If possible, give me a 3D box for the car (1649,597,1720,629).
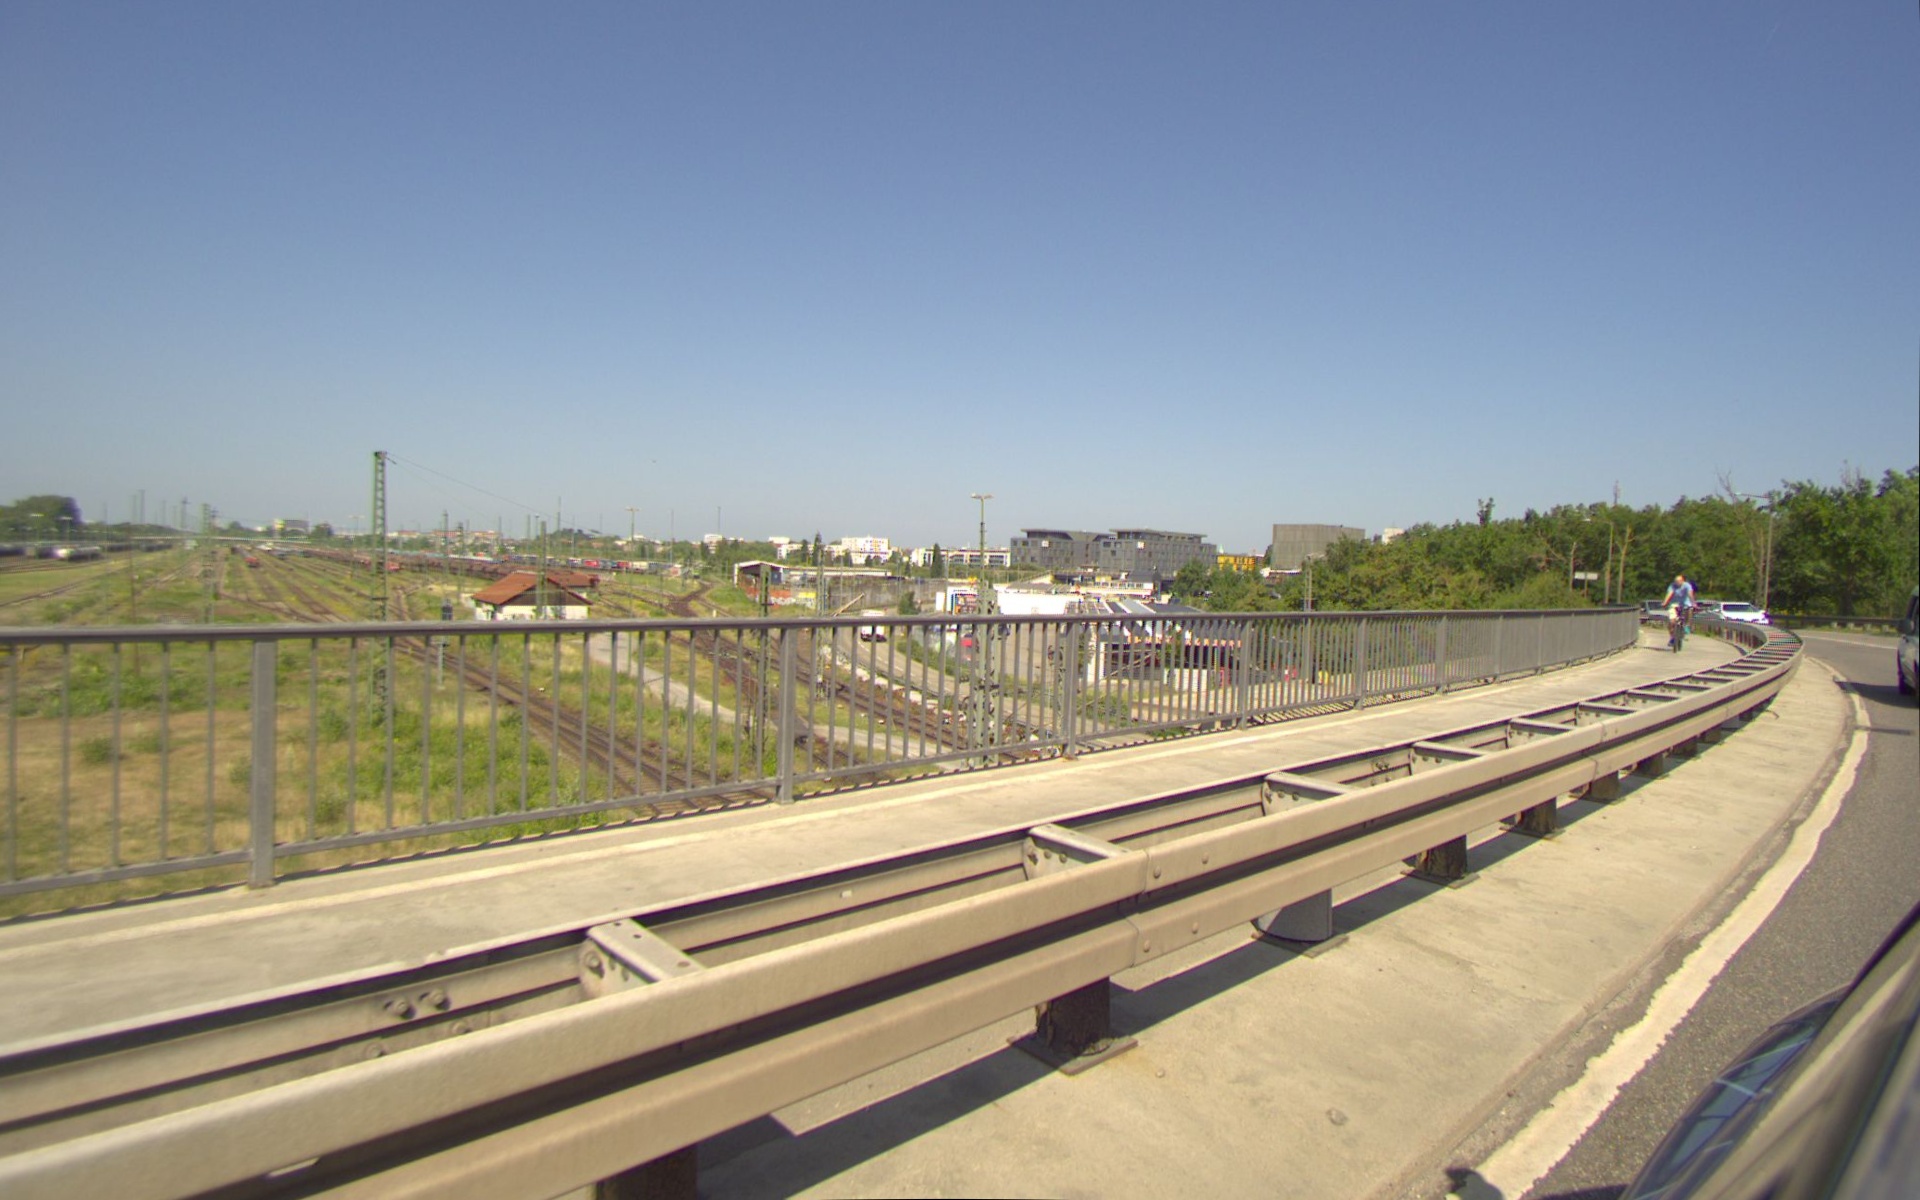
[{"bbox_3d":[40.920,0.741,57.250,1.973,1.605,3.976,-5,-2,18],"label":"car"}]

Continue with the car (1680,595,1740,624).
[{"bbox_3d":[46.707,0.580,63.128,1.842,1.703,4.442,0,1,21],"label":"car"}]

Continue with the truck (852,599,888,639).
[{"bbox_3d":[-11.118,2.153,123.438,3.745,4.079,13.292,3,1,-7],"label":"truck"}]

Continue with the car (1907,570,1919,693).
[{"bbox_3d":[15.234,0.474,14.734,1.890,1.818,4.382,0,0,41],"label":"car"}]

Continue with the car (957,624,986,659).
[{"bbox_3d":[1.097,3.862,95.196,2.267,2.695,5.374,-4,2,4],"label":"car"}]

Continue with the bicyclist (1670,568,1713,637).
[{"bbox_3d":[17.213,0.047,23.827,0.655,1.538,0.794,5,4,32],"label":"bicyclist"}]

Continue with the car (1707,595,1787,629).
[{"bbox_3d":[36.845,0.511,47.480,1.825,1.507,4.122,0,0,21],"label":"car"}]

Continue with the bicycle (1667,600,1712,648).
[{"bbox_3d":[17.276,0.553,23.997,0.700,1.032,1.824,5,3,33],"label":"bicycle"}]
